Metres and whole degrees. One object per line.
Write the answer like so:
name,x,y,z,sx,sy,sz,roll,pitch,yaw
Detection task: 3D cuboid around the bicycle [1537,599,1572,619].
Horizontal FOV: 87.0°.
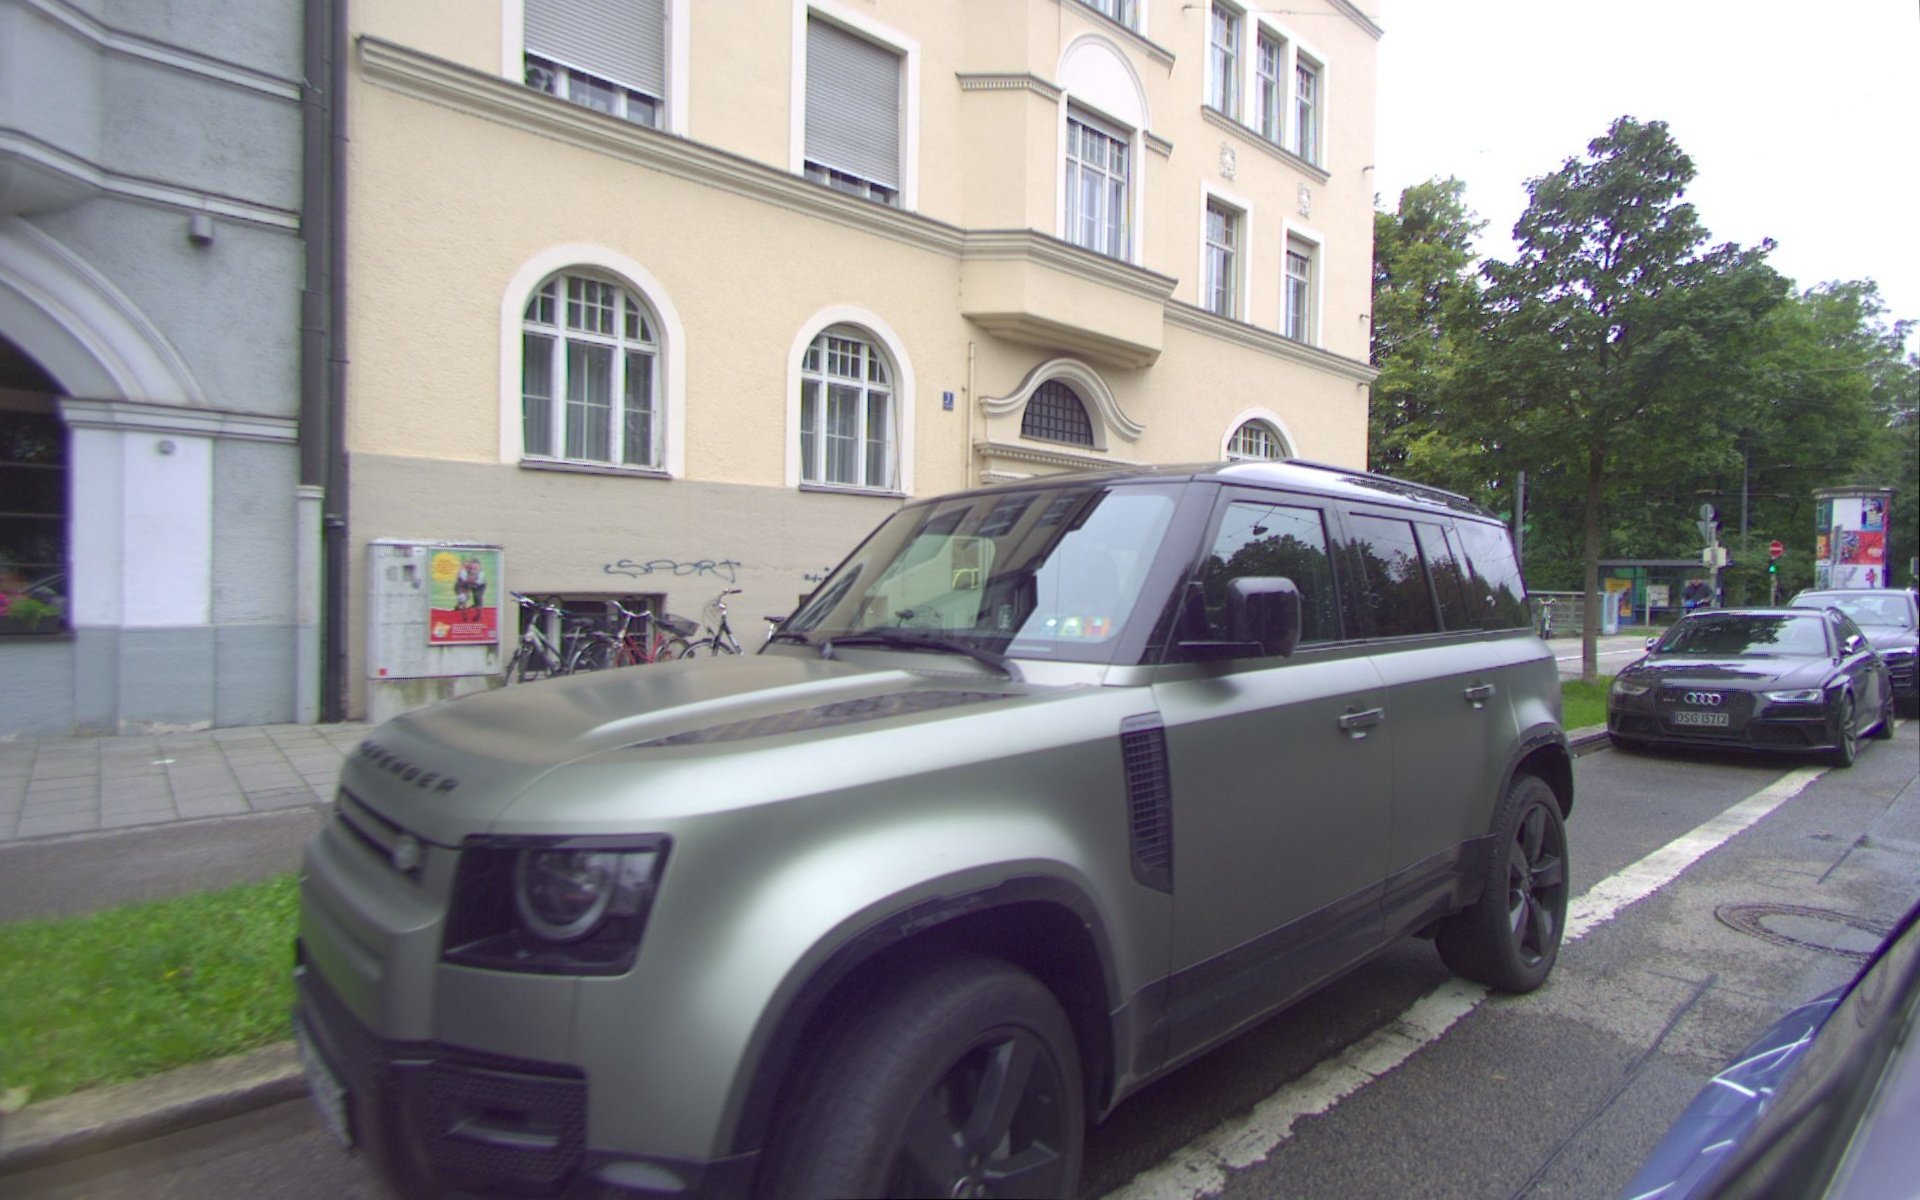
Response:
bicycle,29.919,0.469,50.921,0.366,0.964,1.483,0,1,-38

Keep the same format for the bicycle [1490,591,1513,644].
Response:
bicycle,13.614,0.422,25.432,0.281,1.298,1.391,-1,0,37

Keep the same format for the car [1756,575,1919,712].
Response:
car,12.929,0.514,14.323,4.408,1.679,1.778,0,0,-40

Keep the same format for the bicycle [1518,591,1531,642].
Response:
bicycle,14.575,0.410,26.134,0.280,1.298,1.395,-1,0,29

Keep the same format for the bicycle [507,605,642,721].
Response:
bicycle,-3.690,0.579,9.743,1.202,1.052,0.242,0,-1,-41

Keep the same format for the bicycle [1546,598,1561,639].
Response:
bicycle,16.446,0.493,28.017,0.263,1.096,1.524,-1,0,34

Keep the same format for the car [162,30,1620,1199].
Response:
car,0.419,0.358,3.379,4.727,1.930,1.916,0,0,-43

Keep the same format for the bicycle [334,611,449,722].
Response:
bicycle,-5.091,0.579,9.082,0.870,0.942,0.259,0,-1,-40

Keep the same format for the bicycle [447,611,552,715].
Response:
bicycle,-4.398,0.587,9.689,0.870,0.942,0.291,0,-1,-40

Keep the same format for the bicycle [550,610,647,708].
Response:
bicycle,-3.666,0.578,10.285,0.870,0.942,0.306,0,-1,-39

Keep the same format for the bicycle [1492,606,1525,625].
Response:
bicycle,28.600,0.789,52.794,0.366,0.964,1.483,0,1,-38

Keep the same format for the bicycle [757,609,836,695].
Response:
bicycle,-1.883,0.584,11.685,0.870,0.942,0.286,0,-1,-40

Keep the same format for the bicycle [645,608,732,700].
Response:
bicycle,-2.910,0.567,10.866,0.870,0.942,0.273,0,-1,-40

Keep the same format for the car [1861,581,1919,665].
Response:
car,20.486,0.465,21.126,4.582,1.630,1.904,1,-1,-40

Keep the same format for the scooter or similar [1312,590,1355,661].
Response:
scooter or similar,7.251,0.487,19.634,1.122,1.329,0.261,1,1,-42

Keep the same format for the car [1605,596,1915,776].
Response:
car,8.345,0.697,10.393,4.522,1.444,1.718,0,0,-41

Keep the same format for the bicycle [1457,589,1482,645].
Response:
bicycle,12.125,0.389,24.073,0.281,1.298,1.391,-1,0,37

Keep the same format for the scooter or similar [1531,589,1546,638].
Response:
scooter or similar,15.302,0.348,26.783,0.242,1.279,1.482,-1,0,26

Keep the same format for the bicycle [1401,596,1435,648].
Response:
bicycle,10.159,0.466,22.439,0.286,1.120,1.421,1,1,42
